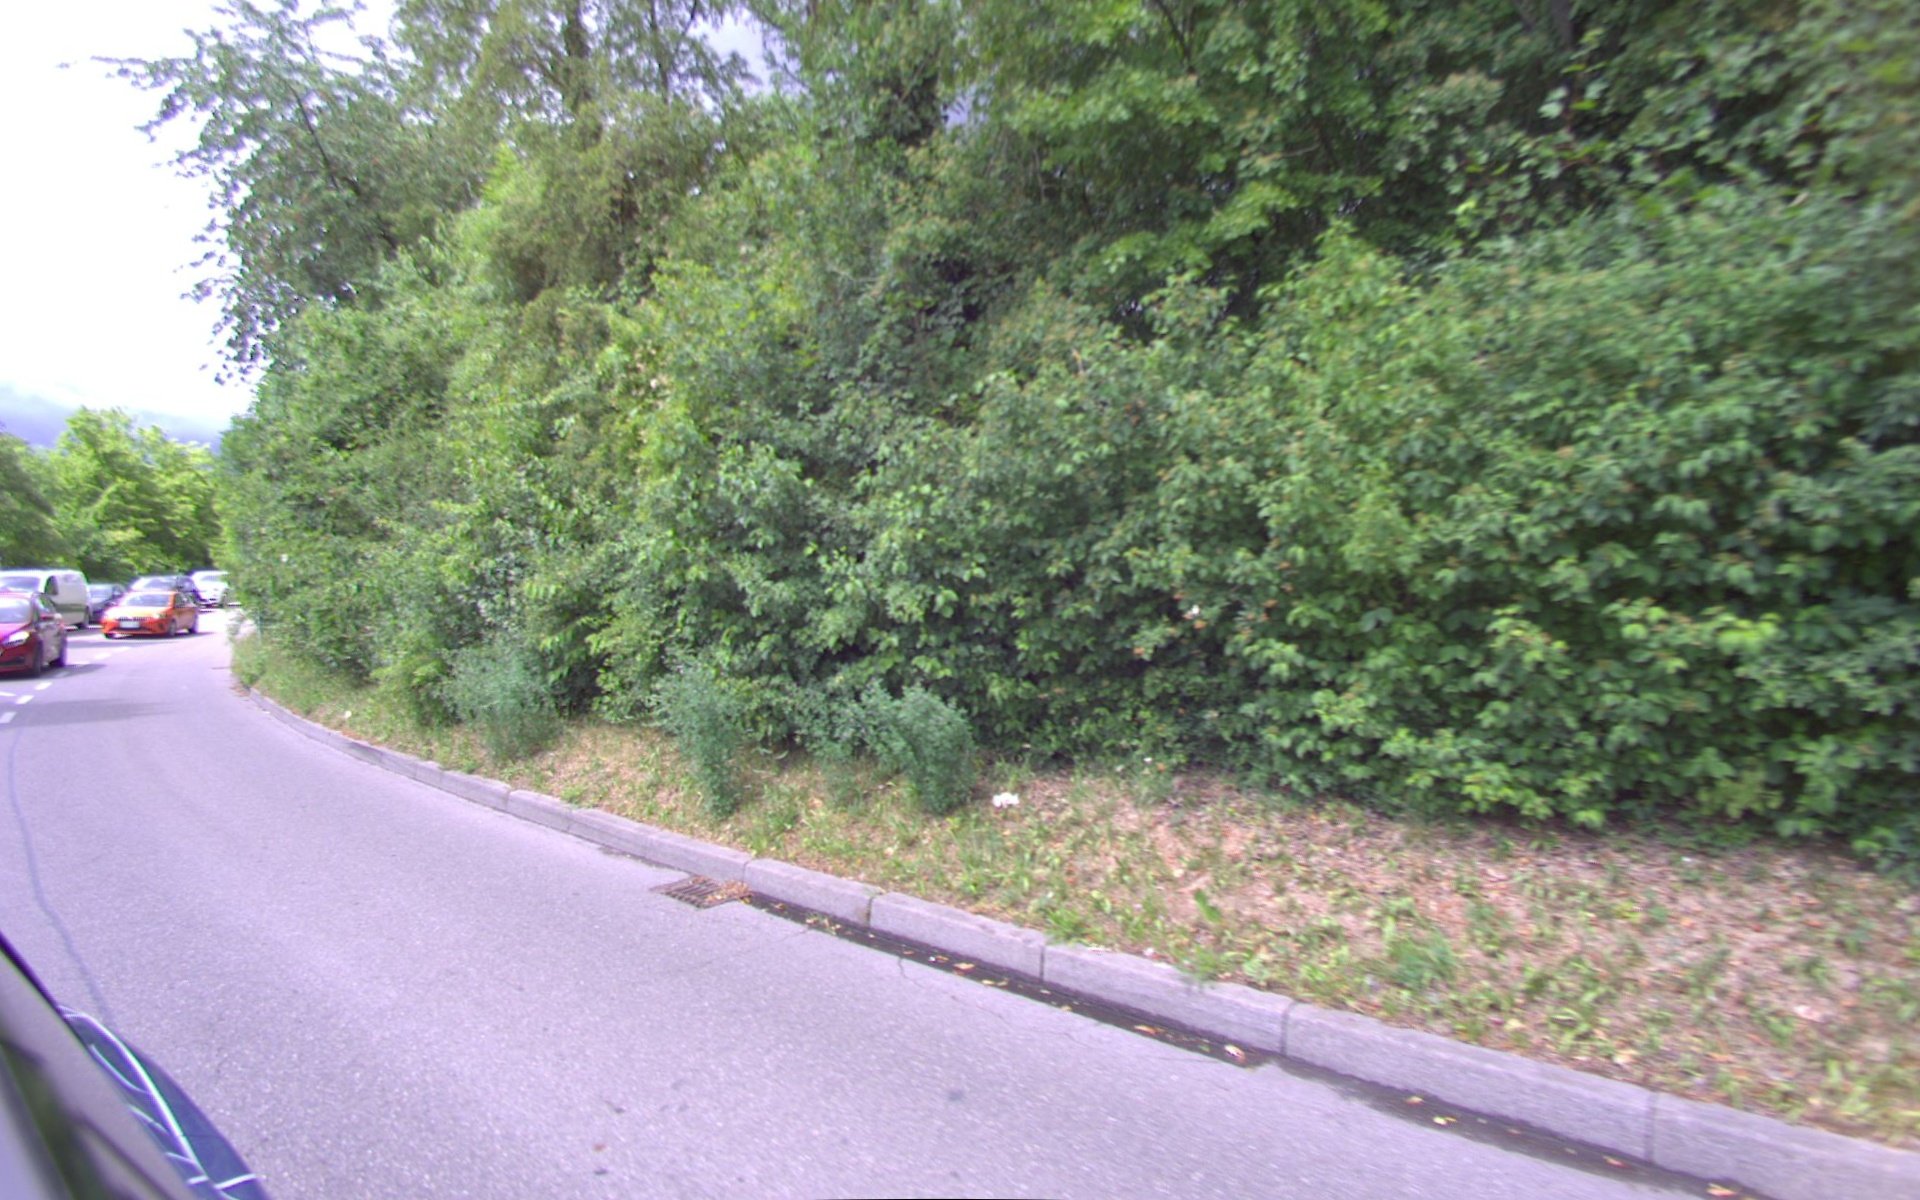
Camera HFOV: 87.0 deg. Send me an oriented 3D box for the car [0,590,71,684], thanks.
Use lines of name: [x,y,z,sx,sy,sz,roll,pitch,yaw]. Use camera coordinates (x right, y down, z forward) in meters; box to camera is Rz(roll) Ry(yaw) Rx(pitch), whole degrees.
car: [-19.209,0.677,20.066,1.881,1.711,4.398,0,0,-35]

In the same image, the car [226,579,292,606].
car: [-38.147,-0.415,55.193,1.766,1.393,4.117,0,1,-16]

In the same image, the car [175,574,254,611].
car: [-36.033,-0.383,49.053,1.766,1.726,4.117,0,1,-16]

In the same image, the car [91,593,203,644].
car: [-25.852,0.529,32.348,1.766,1.423,4.127,0,1,-24]

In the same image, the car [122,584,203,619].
car: [-33.859,0.046,43.061,1.766,1.423,4.119,-1,1,-25]

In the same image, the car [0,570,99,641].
car: [-29.297,0.141,31.941,1.839,2.074,5.445,-1,1,-25]

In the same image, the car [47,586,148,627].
car: [-31.761,0.195,37.401,1.766,1.423,4.119,-1,1,-25]
